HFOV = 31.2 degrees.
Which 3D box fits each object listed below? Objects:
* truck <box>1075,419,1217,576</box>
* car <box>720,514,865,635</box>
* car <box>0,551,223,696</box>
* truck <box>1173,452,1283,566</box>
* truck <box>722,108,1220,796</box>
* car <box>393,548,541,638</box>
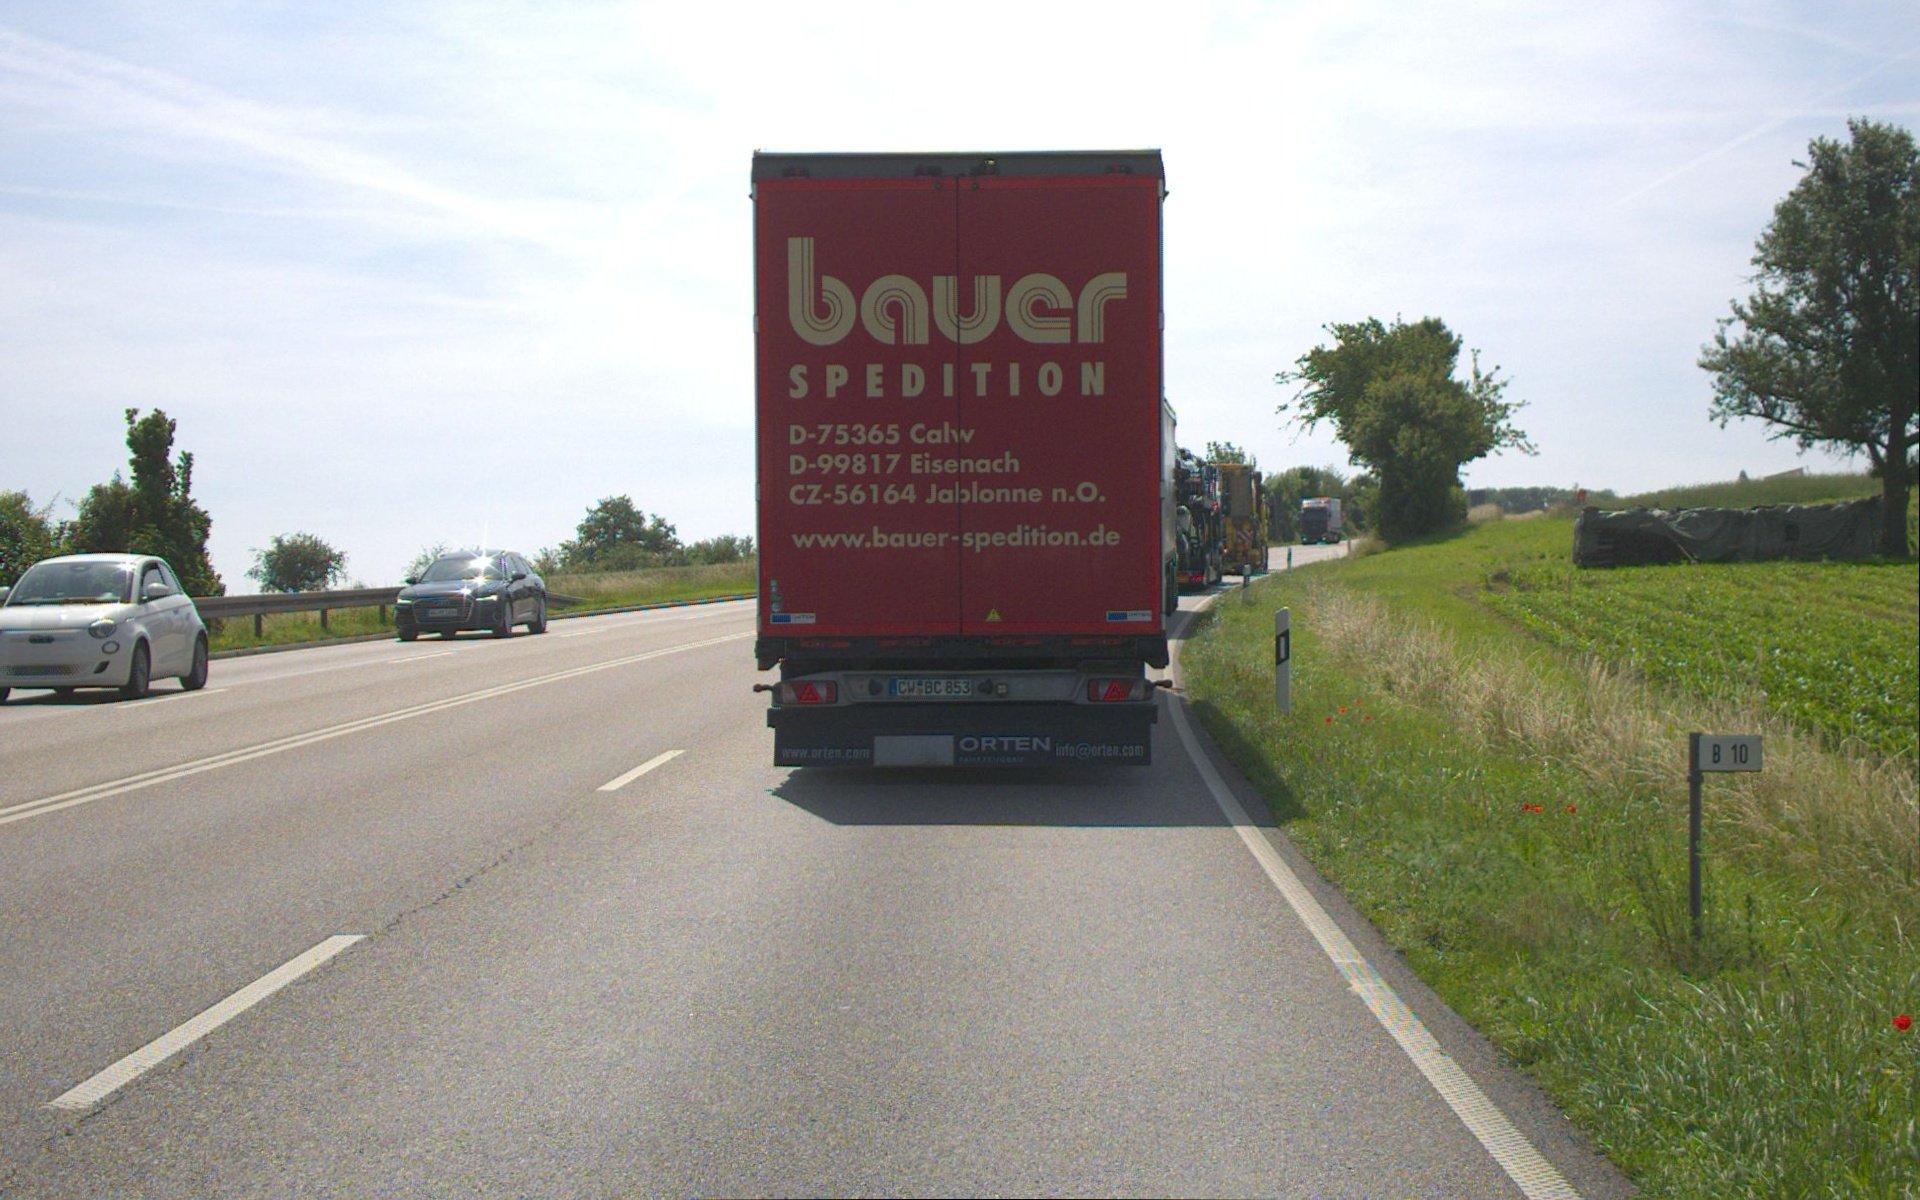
[{"bbox_3d":[5.290,-2.747,94.647,3.047,3.897,15.612,-1,1,6],"label":"truck"},{"bbox_3d":[-2.691,-0.440,56.361,1.905,1.878,5.431,0,1,2],"label":"car"},{"bbox_3d":[-9.235,0.214,36.934,1.657,1.452,3.734,-1,1,3],"label":"car"},{"bbox_3d":[10.154,-3.367,128.332,3.048,3.897,18.393,-1,1,8],"label":"truck"},{"bbox_3d":[0.122,-1.050,29.216,3.007,4.165,16.715,0,1,0],"label":"truck"},{"bbox_3d":[-8.490,-0.156,59.541,1.836,1.450,4.326,-2,1,1],"label":"car"}]
